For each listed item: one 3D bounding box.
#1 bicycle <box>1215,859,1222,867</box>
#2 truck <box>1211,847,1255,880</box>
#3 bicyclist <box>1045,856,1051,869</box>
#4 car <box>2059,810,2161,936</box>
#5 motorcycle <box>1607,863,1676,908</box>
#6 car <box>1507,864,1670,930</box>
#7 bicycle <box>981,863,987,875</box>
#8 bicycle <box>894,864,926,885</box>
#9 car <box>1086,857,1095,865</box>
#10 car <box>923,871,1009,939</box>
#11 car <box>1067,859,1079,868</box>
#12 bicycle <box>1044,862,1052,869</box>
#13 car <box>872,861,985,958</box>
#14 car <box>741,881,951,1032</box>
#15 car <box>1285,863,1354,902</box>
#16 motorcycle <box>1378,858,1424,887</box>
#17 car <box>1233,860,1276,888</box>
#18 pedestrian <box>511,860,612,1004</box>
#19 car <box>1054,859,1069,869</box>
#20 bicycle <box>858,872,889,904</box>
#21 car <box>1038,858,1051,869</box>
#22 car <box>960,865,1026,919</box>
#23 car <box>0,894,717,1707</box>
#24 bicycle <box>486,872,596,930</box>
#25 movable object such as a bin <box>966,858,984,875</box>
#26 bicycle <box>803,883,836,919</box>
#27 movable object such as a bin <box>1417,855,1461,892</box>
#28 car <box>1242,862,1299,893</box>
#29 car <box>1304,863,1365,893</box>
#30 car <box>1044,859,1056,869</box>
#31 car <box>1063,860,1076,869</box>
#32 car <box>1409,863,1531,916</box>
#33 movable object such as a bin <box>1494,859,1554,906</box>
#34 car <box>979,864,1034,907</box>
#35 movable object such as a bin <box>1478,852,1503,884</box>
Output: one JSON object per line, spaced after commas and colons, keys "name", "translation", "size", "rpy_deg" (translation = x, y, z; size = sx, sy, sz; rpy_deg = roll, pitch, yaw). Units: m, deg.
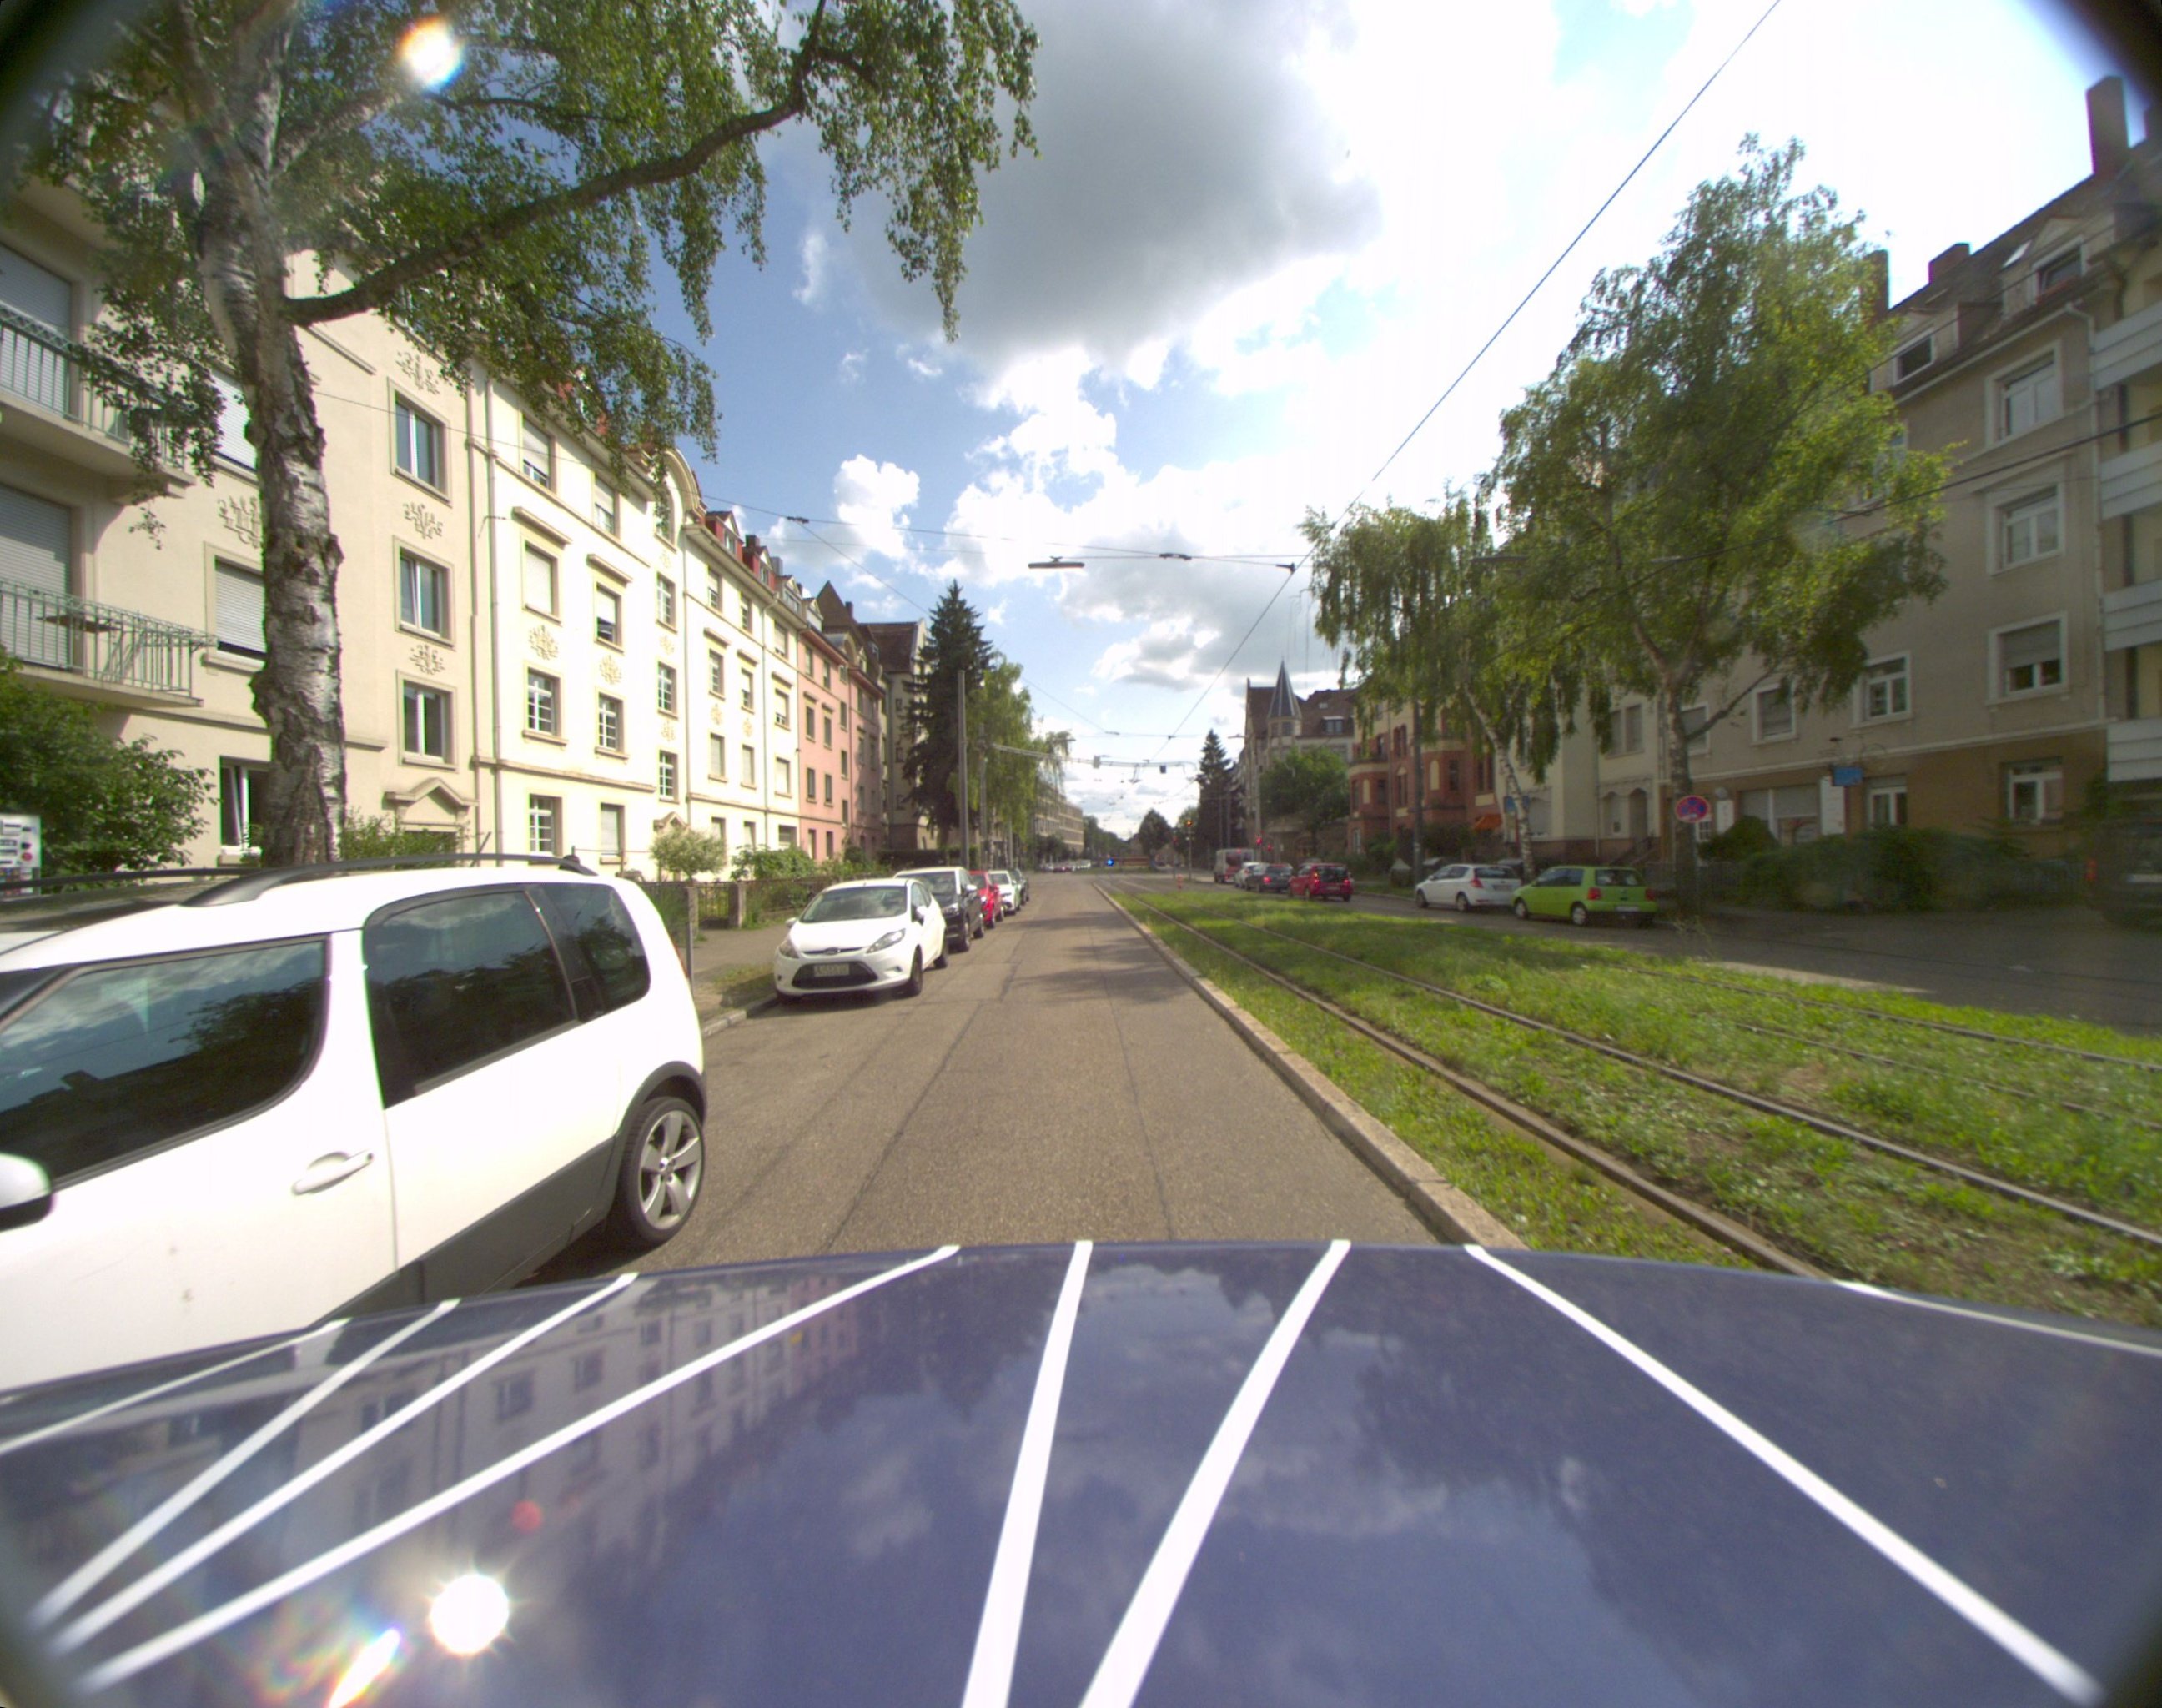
{"name": "bicycle", "translation": [18.411, 1.213, 101.782], "size": [0.625, 0.966, 2.336], "rpy_deg": [-1, 0, 3]}
{"name": "truck", "translation": [10.532, 0.641, 53.017], "size": [2.190, 2.201, 6.614], "rpy_deg": [0, 0, 4]}
{"name": "bicyclist", "translation": [-4.545, 1.175, 103.789], "size": [0.665, 1.679, 0.857], "rpy_deg": [0, 0, 5]}
{"name": "car", "translation": [19.310, 0.211, 12.385], "size": [3.996, 2.002, 1.937], "rpy_deg": [-3, 0, 3]}
{"name": "motorcycle", "translation": [14.410, 0.777, 19.589], "size": [0.500, 1.036, 1.632], "rpy_deg": [-4, 1, -1]}
{"name": "car", "translation": [12.177, 0.975, 18.529], "size": [1.598, 1.423, 3.614], "rpy_deg": [0, 0, 1]}
{"name": "bicycle", "translation": [-8.589, 1.346, 67.487], "size": [0.350, 1.016, 1.481], "rpy_deg": [2, 0, -1]}
{"name": "bicycle", "translation": [-10.350, 1.241, 45.977], "size": [1.777, 1.213, 0.421], "rpy_deg": [-1, 0, -2]}
{"name": "car", "translation": [2.079, 1.440, 160.983], "size": [1.645, 1.610, 3.713], "rpy_deg": [-1, 0, 3]}
{"name": "car", "translation": [-2.947, 1.262, 20.186], "size": [1.593, 1.444, 3.844], "rpy_deg": [-5, 0, 0]}
{"name": "car", "translation": [-1.261, 1.558, 125.571], "size": [1.619, 1.265, 4.001], "rpy_deg": [-2, 0, 3]}
{"name": "bicycle", "translation": [-4.542, 1.577, 103.693], "size": [0.771, 0.885, 1.892], "rpy_deg": [-1, 0, 5]}
{"name": "car", "translation": [-2.872, 0.984, 15.034], "size": [1.497, 1.570, 3.758], "rpy_deg": [-3, 0, -2]}
{"name": "car", "translation": [-2.891, 1.187, 10.221], "size": [1.677, 1.408, 3.794], "rpy_deg": [-4, 0, -2]}
{"name": "car", "translation": [9.295, 1.076, 29.907], "size": [1.583, 1.378, 3.693], "rpy_deg": [0, 0, 0]}
{"name": "motorcycle", "translation": [14.334, 0.792, 34.090], "size": [0.903, 1.235, 2.293], "rpy_deg": [-1, 0, -6]}
{"name": "car", "translation": [9.820, 1.108, 43.305], "size": [1.759, 1.406, 4.135], "rpy_deg": [1, 0, 4]}
{"name": "pedestrian", "translation": [-6.303, 0.920, 9.245], "size": [0.731, 1.673, 0.691], "rpy_deg": [1, 0, 3]}
{"name": "car", "translation": [-2.797, 1.395, 110.917], "size": [1.740, 1.313, 4.001], "rpy_deg": [-3, 0, 3]}
{"name": "bicycle", "translation": [-7.633, 1.226, 28.044], "size": [0.472, 1.071, 2.183], "rpy_deg": [-1, 0, 1]}
{"name": "car", "translation": [-5.812, 1.523, 120.352], "size": [1.999, 1.730, 3.999], "rpy_deg": [-1, 0, -2]}
{"name": "car", "translation": [-2.796, 1.181, 24.879], "size": [1.624, 1.444, 3.918], "rpy_deg": [-5, 0, 0]}
{"name": "car", "translation": [-2.707, 1.050, 1.609], "size": [1.725, 1.620, 4.001], "rpy_deg": [-3, 0, 2]}
{"name": "bicycle", "translation": [-12.328, 1.064, 17.380], "size": [1.978, 1.244, 0.672], "rpy_deg": [-1, 0, -2]}
{"name": "movable object such as a bin", "translation": [-9.317, 1.108, 66.990], "size": [1.305, 1.483, 2.000], "rpy_deg": [-1, 0, 0]}
{"name": "bicycle", "translation": [-7.576, 1.340, 22.051], "size": [0.388, 0.933, 1.585], "rpy_deg": [-1, 0, -1]}
{"name": "movable object such as a bin", "translation": [14.719, 0.789, 31.271], "size": [0.953, 1.359, 1.521], "rpy_deg": [-6, 0, -1]}
{"name": "car", "translation": [9.142, 1.096, 37.022], "size": [1.759, 1.348, 4.512], "rpy_deg": [1, 0, 1]}
{"name": "car", "translation": [12.468, 1.143, 37.612], "size": [1.759, 1.348, 3.995], "rpy_deg": [-1, 0, 1]}
{"name": "car", "translation": [-5.246, 1.665, 128.686], "size": [1.836, 1.674, 4.000], "rpy_deg": [-1, 0, -1]}
{"name": "car", "translation": [-1.810, 1.592, 118.271], "size": [1.619, 1.265, 4.001], "rpy_deg": [-2, 0, 3]}
{"name": "car", "translation": [11.975, 1.023, 23.712], "size": [1.649, 1.469, 4.225], "rpy_deg": [0, 0, 0]}
{"name": "movable object such as a bin", "translation": [14.418, 0.899, 24.779], "size": [0.953, 1.421, 1.521], "rpy_deg": [-3, 0, -1]}
{"name": "car", "translation": [-3.009, 1.224, 31.515], "size": [1.796, 1.511, 4.526], "rpy_deg": [-4, 0, -1]}
{"name": "movable object such as a bin", "translation": [17.849, 0.608, 33.129], "size": [0.675, 1.354, 0.699], "rpy_deg": [-1, 0, -4]}
